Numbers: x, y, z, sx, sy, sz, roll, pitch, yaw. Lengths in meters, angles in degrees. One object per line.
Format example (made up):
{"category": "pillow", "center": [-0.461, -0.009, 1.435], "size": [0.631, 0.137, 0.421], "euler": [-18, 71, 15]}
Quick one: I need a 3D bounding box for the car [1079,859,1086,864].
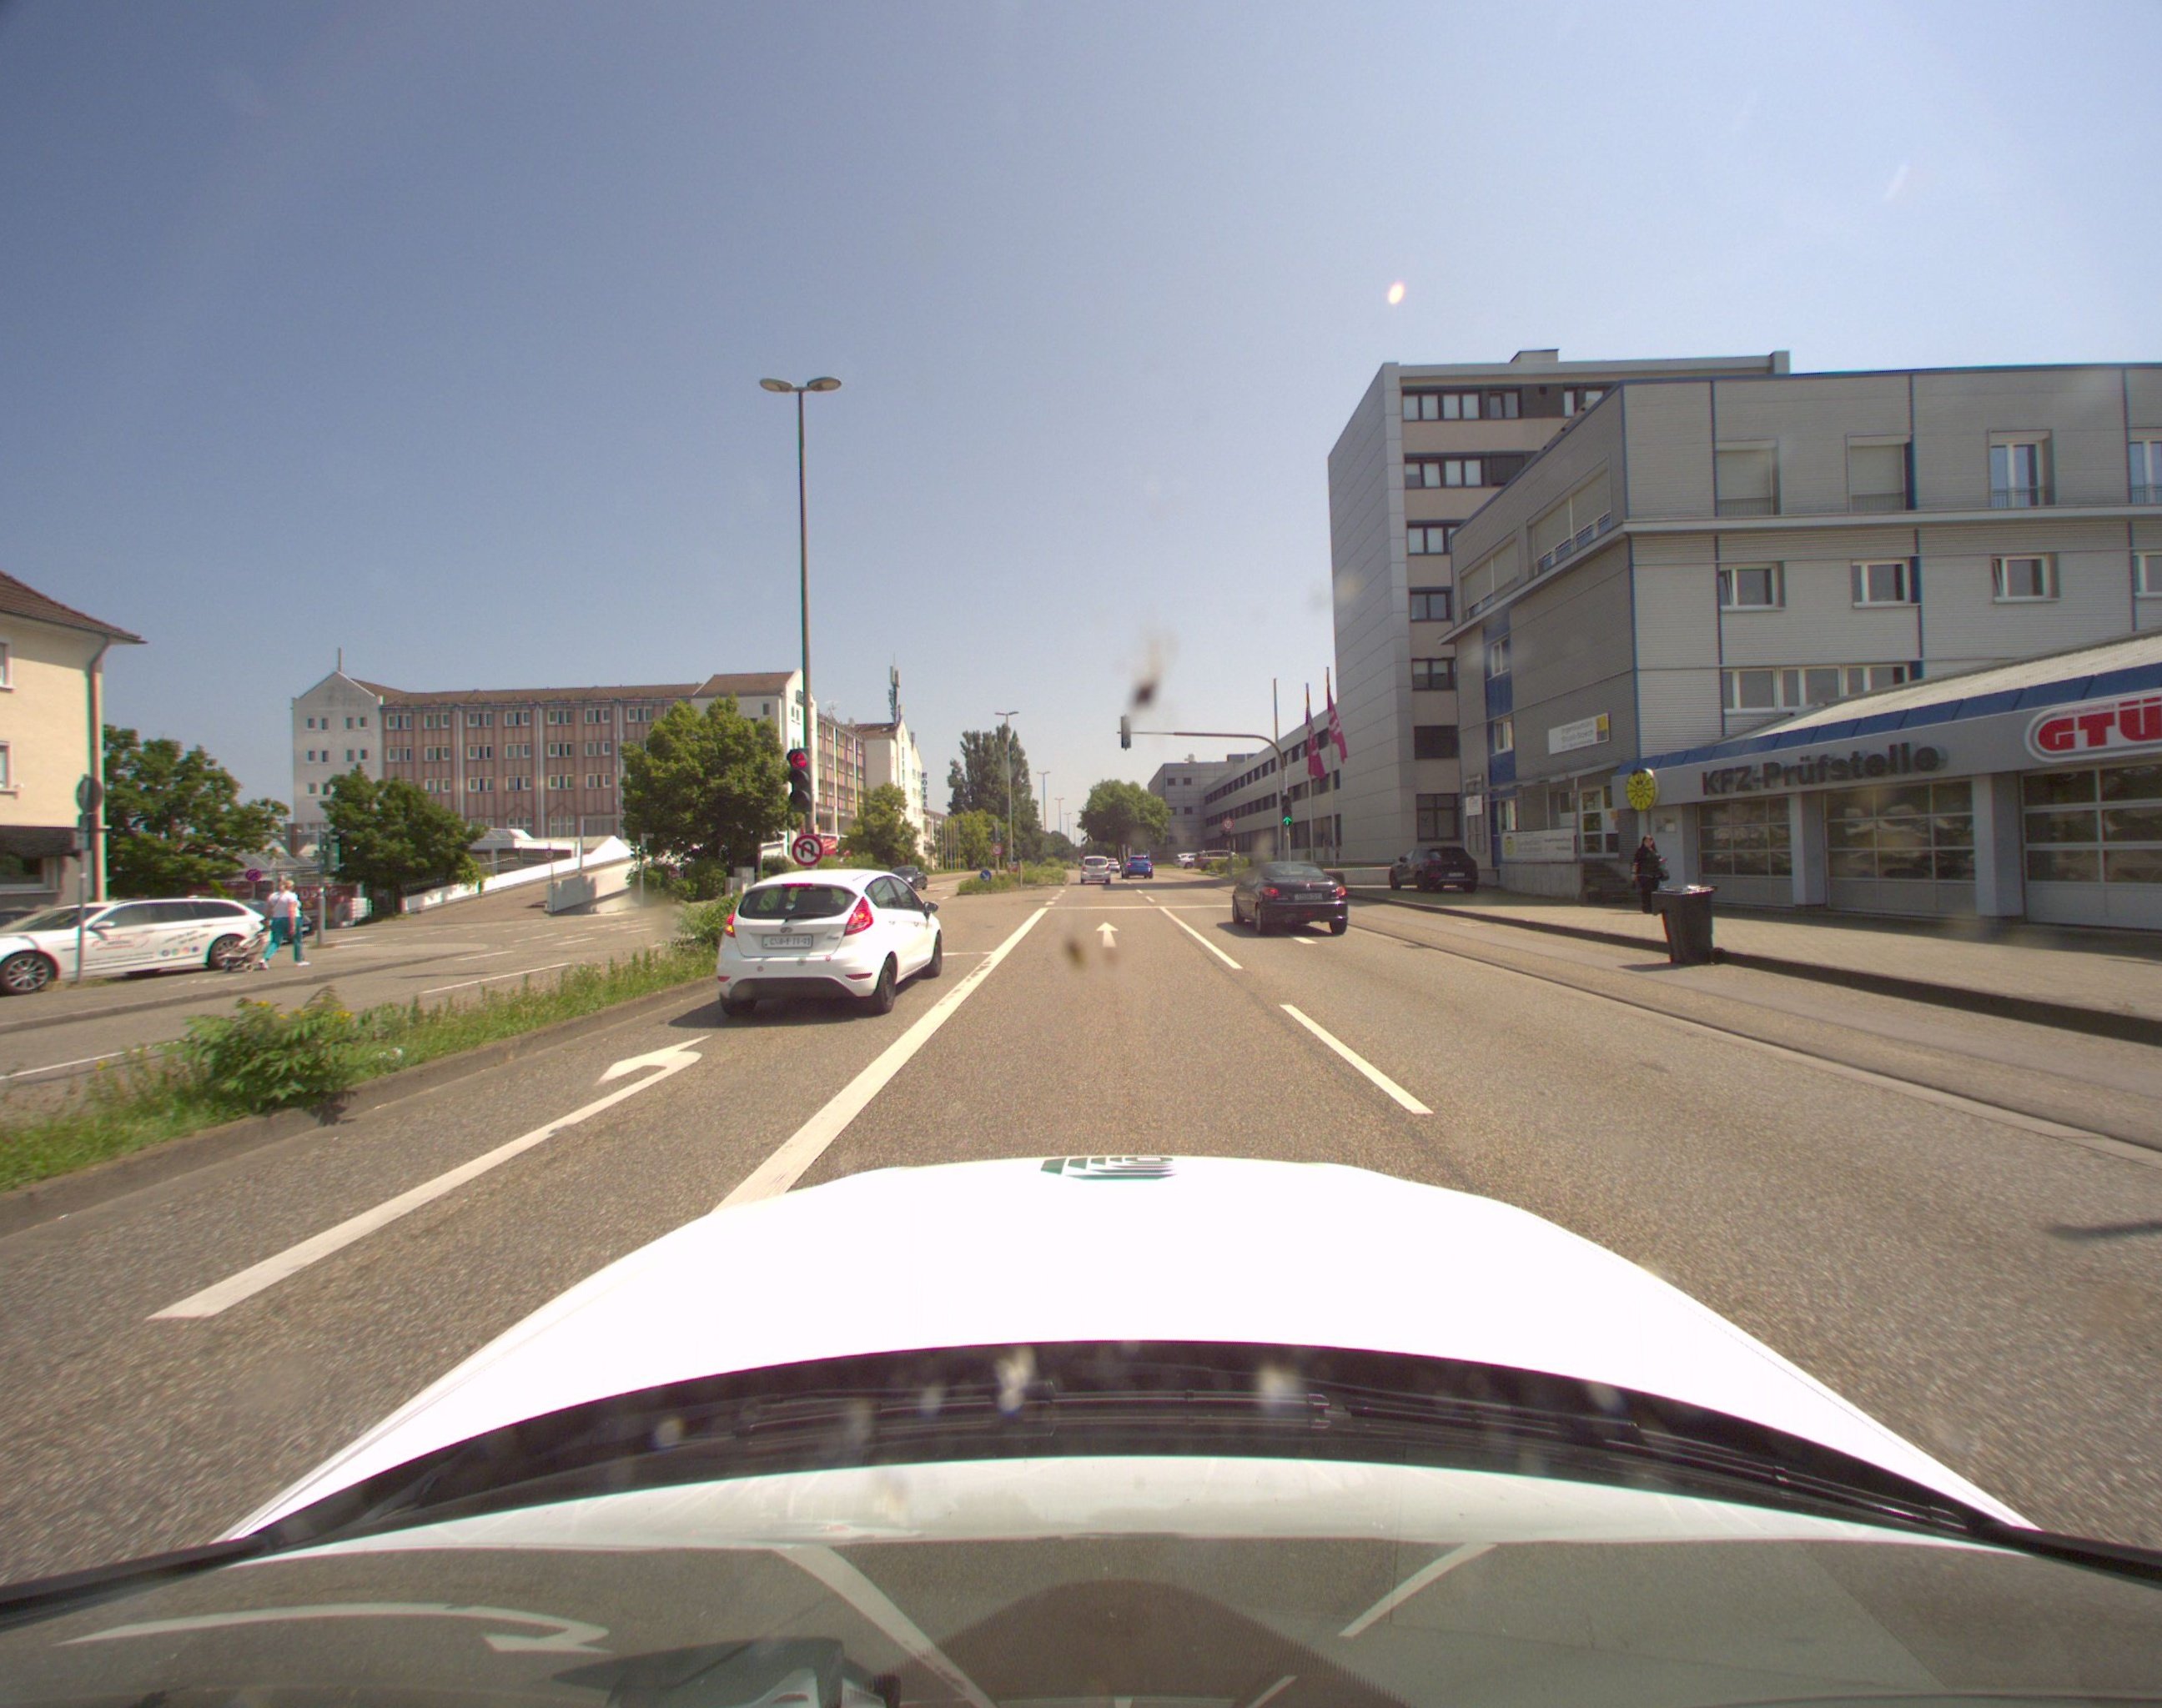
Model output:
{"category": "car", "center": [0.412, 2.286, 247.908], "size": [1.815, 1.662, 3.995], "euler": [-2, 0, -3]}

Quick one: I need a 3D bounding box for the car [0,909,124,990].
{"category": "car", "center": [-20.699, 1.847, 14.862], "size": [1.728, 1.351, 3.997], "euler": [-2, 0, -2]}

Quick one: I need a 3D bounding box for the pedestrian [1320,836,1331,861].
{"category": "pedestrian", "center": [16.347, -0.343, 54.401], "size": [0.589, 1.634, 0.524], "euler": [-3, 0, 9]}

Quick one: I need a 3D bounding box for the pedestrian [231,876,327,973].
{"category": "pedestrian", "center": [-15.331, 1.326, 15.594], "size": [0.737, 1.747, 1.034], "euler": [-2, 0, 3]}

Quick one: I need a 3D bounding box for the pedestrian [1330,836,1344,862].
{"category": "pedestrian", "center": [16.572, -0.296, 52.736], "size": [0.523, 1.663, 0.752], "euler": [-2, 0, -17]}

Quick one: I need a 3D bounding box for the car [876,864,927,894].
{"category": "car", "center": [-10.198, 1.401, 46.644], "size": [1.988, 1.486, 4.498], "euler": [-2, 0, -2]}

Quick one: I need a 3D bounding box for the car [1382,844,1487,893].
{"category": "car", "center": [11.999, 0.470, 27.944], "size": [1.837, 1.531, 4.197], "euler": [0, 0, 1]}

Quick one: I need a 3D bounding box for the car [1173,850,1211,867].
{"category": "car", "center": [12.210, 0.516, 90.076], "size": [3.805, 1.592, 1.730], "euler": [-5, 0, -4]}

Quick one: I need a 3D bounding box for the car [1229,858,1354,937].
{"category": "car", "center": [4.124, 0.796, 16.486], "size": [1.621, 1.364, 3.606], "euler": [-1, 0, 1]}

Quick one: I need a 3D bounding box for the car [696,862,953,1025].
{"category": "car", "center": [-2.697, 0.856, 9.490], "size": [1.682, 1.434, 3.712], "euler": [-2, 0, 1]}

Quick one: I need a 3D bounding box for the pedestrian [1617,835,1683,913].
{"category": "pedestrian", "center": [12.382, 0.426, 17.761], "size": [0.806, 1.627, 0.854], "euler": [-2, -1, 4]}

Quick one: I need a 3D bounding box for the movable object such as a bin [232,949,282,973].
{"category": "movable object such as a bin", "center": [-15.434, 1.999, 15.264], "size": [0.415, 0.372, 0.507], "euler": [-2, 0, 2]}

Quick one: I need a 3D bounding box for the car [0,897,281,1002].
{"category": "car", "center": [-17.663, 1.627, 14.609], "size": [1.769, 1.410, 4.761], "euler": [-2, 0, 2]}

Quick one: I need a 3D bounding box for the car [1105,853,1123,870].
{"category": "car", "center": [3.263, 0.717, 80.025], "size": [1.552, 1.520, 3.609], "euler": [-2, 0, 4]}

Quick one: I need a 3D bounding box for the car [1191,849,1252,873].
{"category": "car", "center": [10.839, 0.522, 63.062], "size": [4.250, 1.689, 1.997], "euler": [-2, 0, -4]}

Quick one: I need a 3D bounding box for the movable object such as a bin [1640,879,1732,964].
{"category": "movable object such as a bin", "center": [7.250, 0.795, 9.787], "size": [0.549, 0.919, 0.653], "euler": [-5, -1, 1]}

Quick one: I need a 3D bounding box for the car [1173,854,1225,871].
{"category": "car", "center": [11.336, 0.831, 78.621], "size": [4.604, 1.390, 1.997], "euler": [-2, 0, -4]}

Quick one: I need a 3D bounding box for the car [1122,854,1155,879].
{"category": "car", "center": [3.828, 0.821, 55.090], "size": [1.823, 1.580, 3.602], "euler": [-2, 0, -2]}

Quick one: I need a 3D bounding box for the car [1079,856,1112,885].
{"category": "car", "center": [0.844, 0.865, 45.207], "size": [1.741, 1.520, 3.748], "euler": [-1, 0, 2]}
